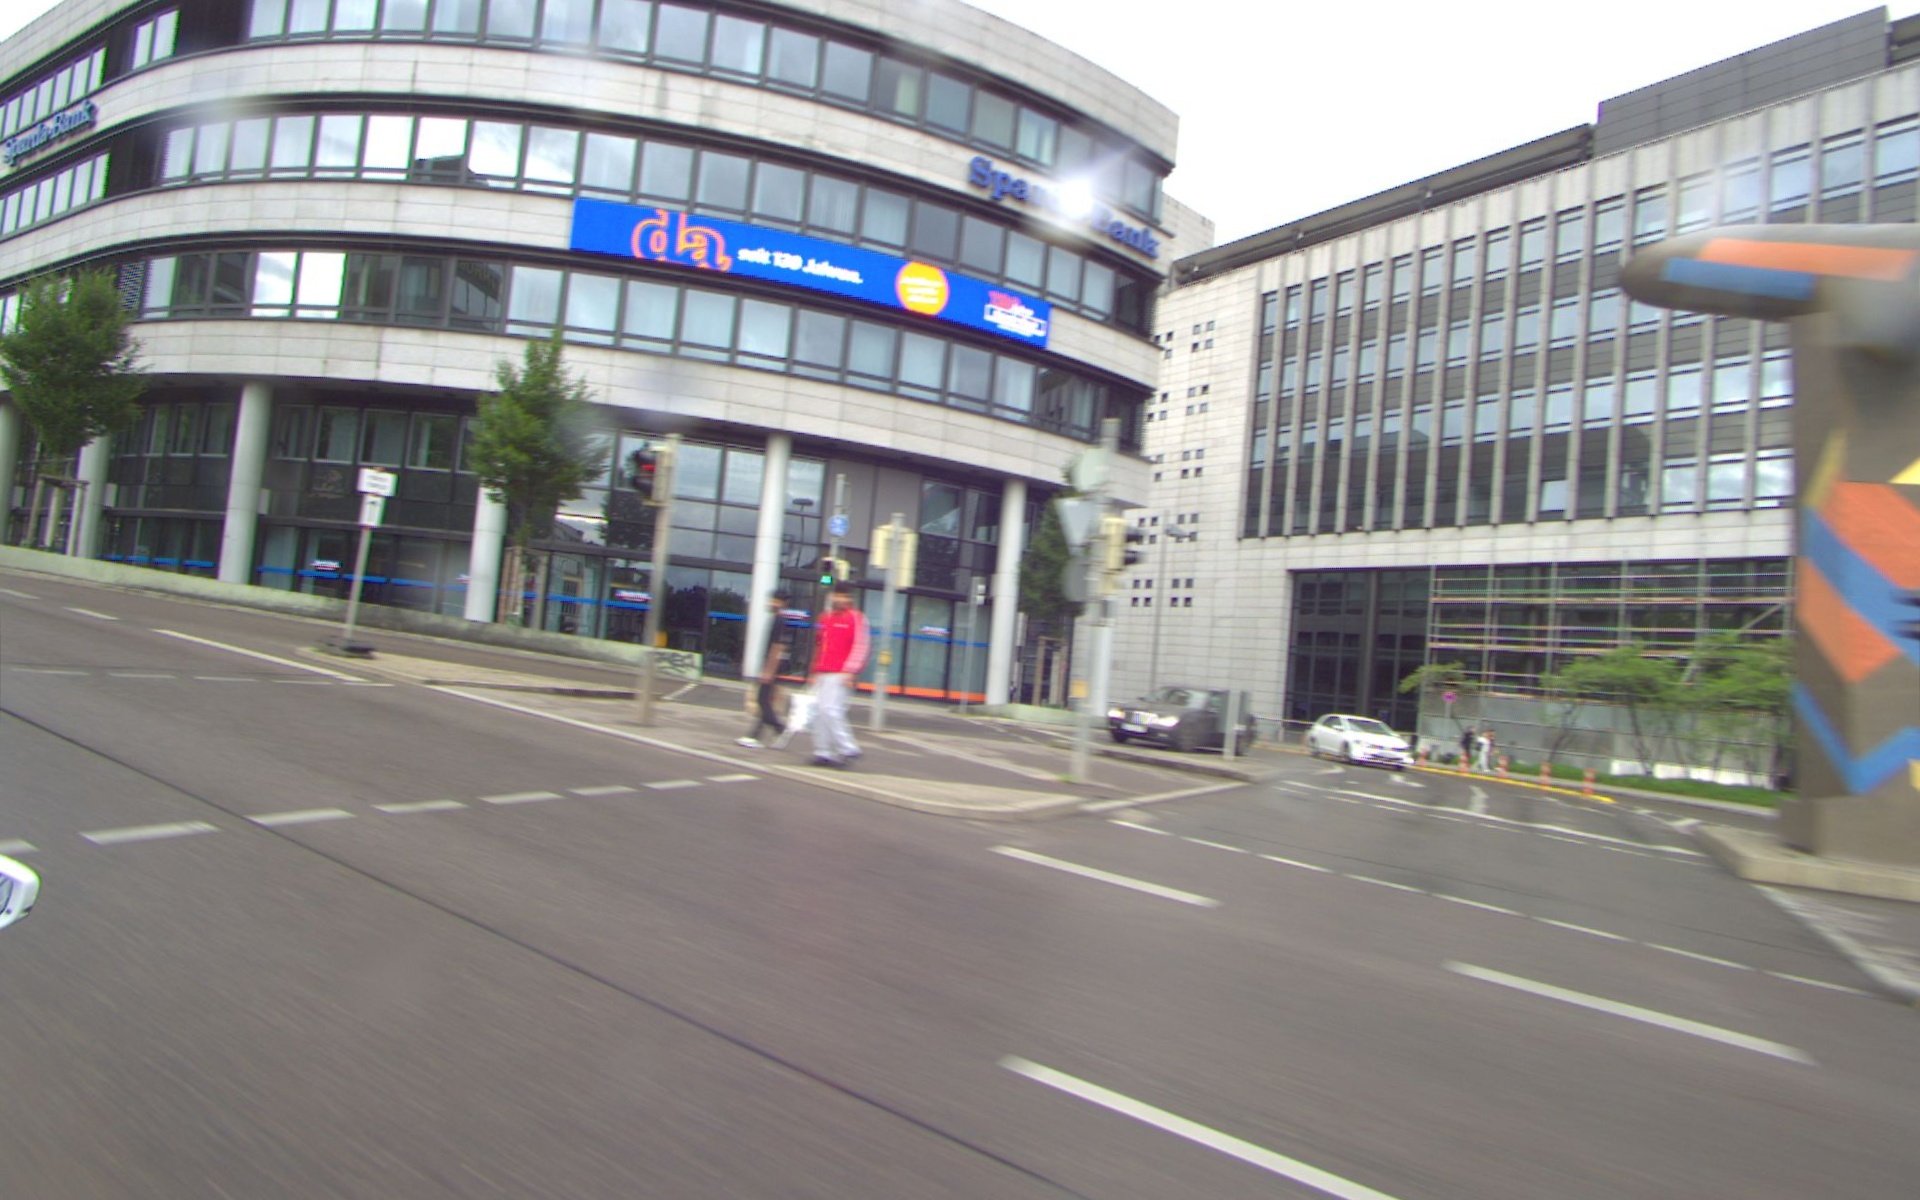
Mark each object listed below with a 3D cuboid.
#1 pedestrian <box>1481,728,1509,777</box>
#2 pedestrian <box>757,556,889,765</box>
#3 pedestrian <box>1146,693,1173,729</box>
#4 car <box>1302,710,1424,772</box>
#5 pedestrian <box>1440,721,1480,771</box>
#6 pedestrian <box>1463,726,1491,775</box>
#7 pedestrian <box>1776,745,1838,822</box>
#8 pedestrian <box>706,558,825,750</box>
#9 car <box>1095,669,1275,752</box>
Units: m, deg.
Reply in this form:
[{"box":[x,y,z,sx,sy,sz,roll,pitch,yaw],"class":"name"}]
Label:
[{"box":[20.402,5.822,38.383,0.556,1.766,0.548,9,-2,-32],"class":"pedestrian"},{"box":[-1.362,0.598,9.957,0.835,1.926,0.854,7,-3,-33],"class":"pedestrian"},{"box":[10.646,5.907,53.658,1.064,1.741,0.656,8,-1,-8],"class":"pedestrian"},{"box":[11.924,4.149,30.052,1.832,1.457,4.007,5,-5,-2],"class":"car"},{"box":[19.965,5.828,40.199,0.935,1.766,0.896,9,-2,-32],"class":"pedestrian"},{"box":[19.672,5.723,38.248,0.556,1.766,0.548,9,-2,-32],"class":"pedestrian"},{"box":[22.036,4.772,26.180,0.957,1.838,0.778,7,-3,-18],"class":"pedestrian"},{"box":[-2.087,0.570,10.778,0.835,1.926,0.726,7,-2,-33],"class":"pedestrian"},{"box":[5.214,2.554,22.806,1.842,1.457,4.695,3,-5,42],"class":"car"}]
